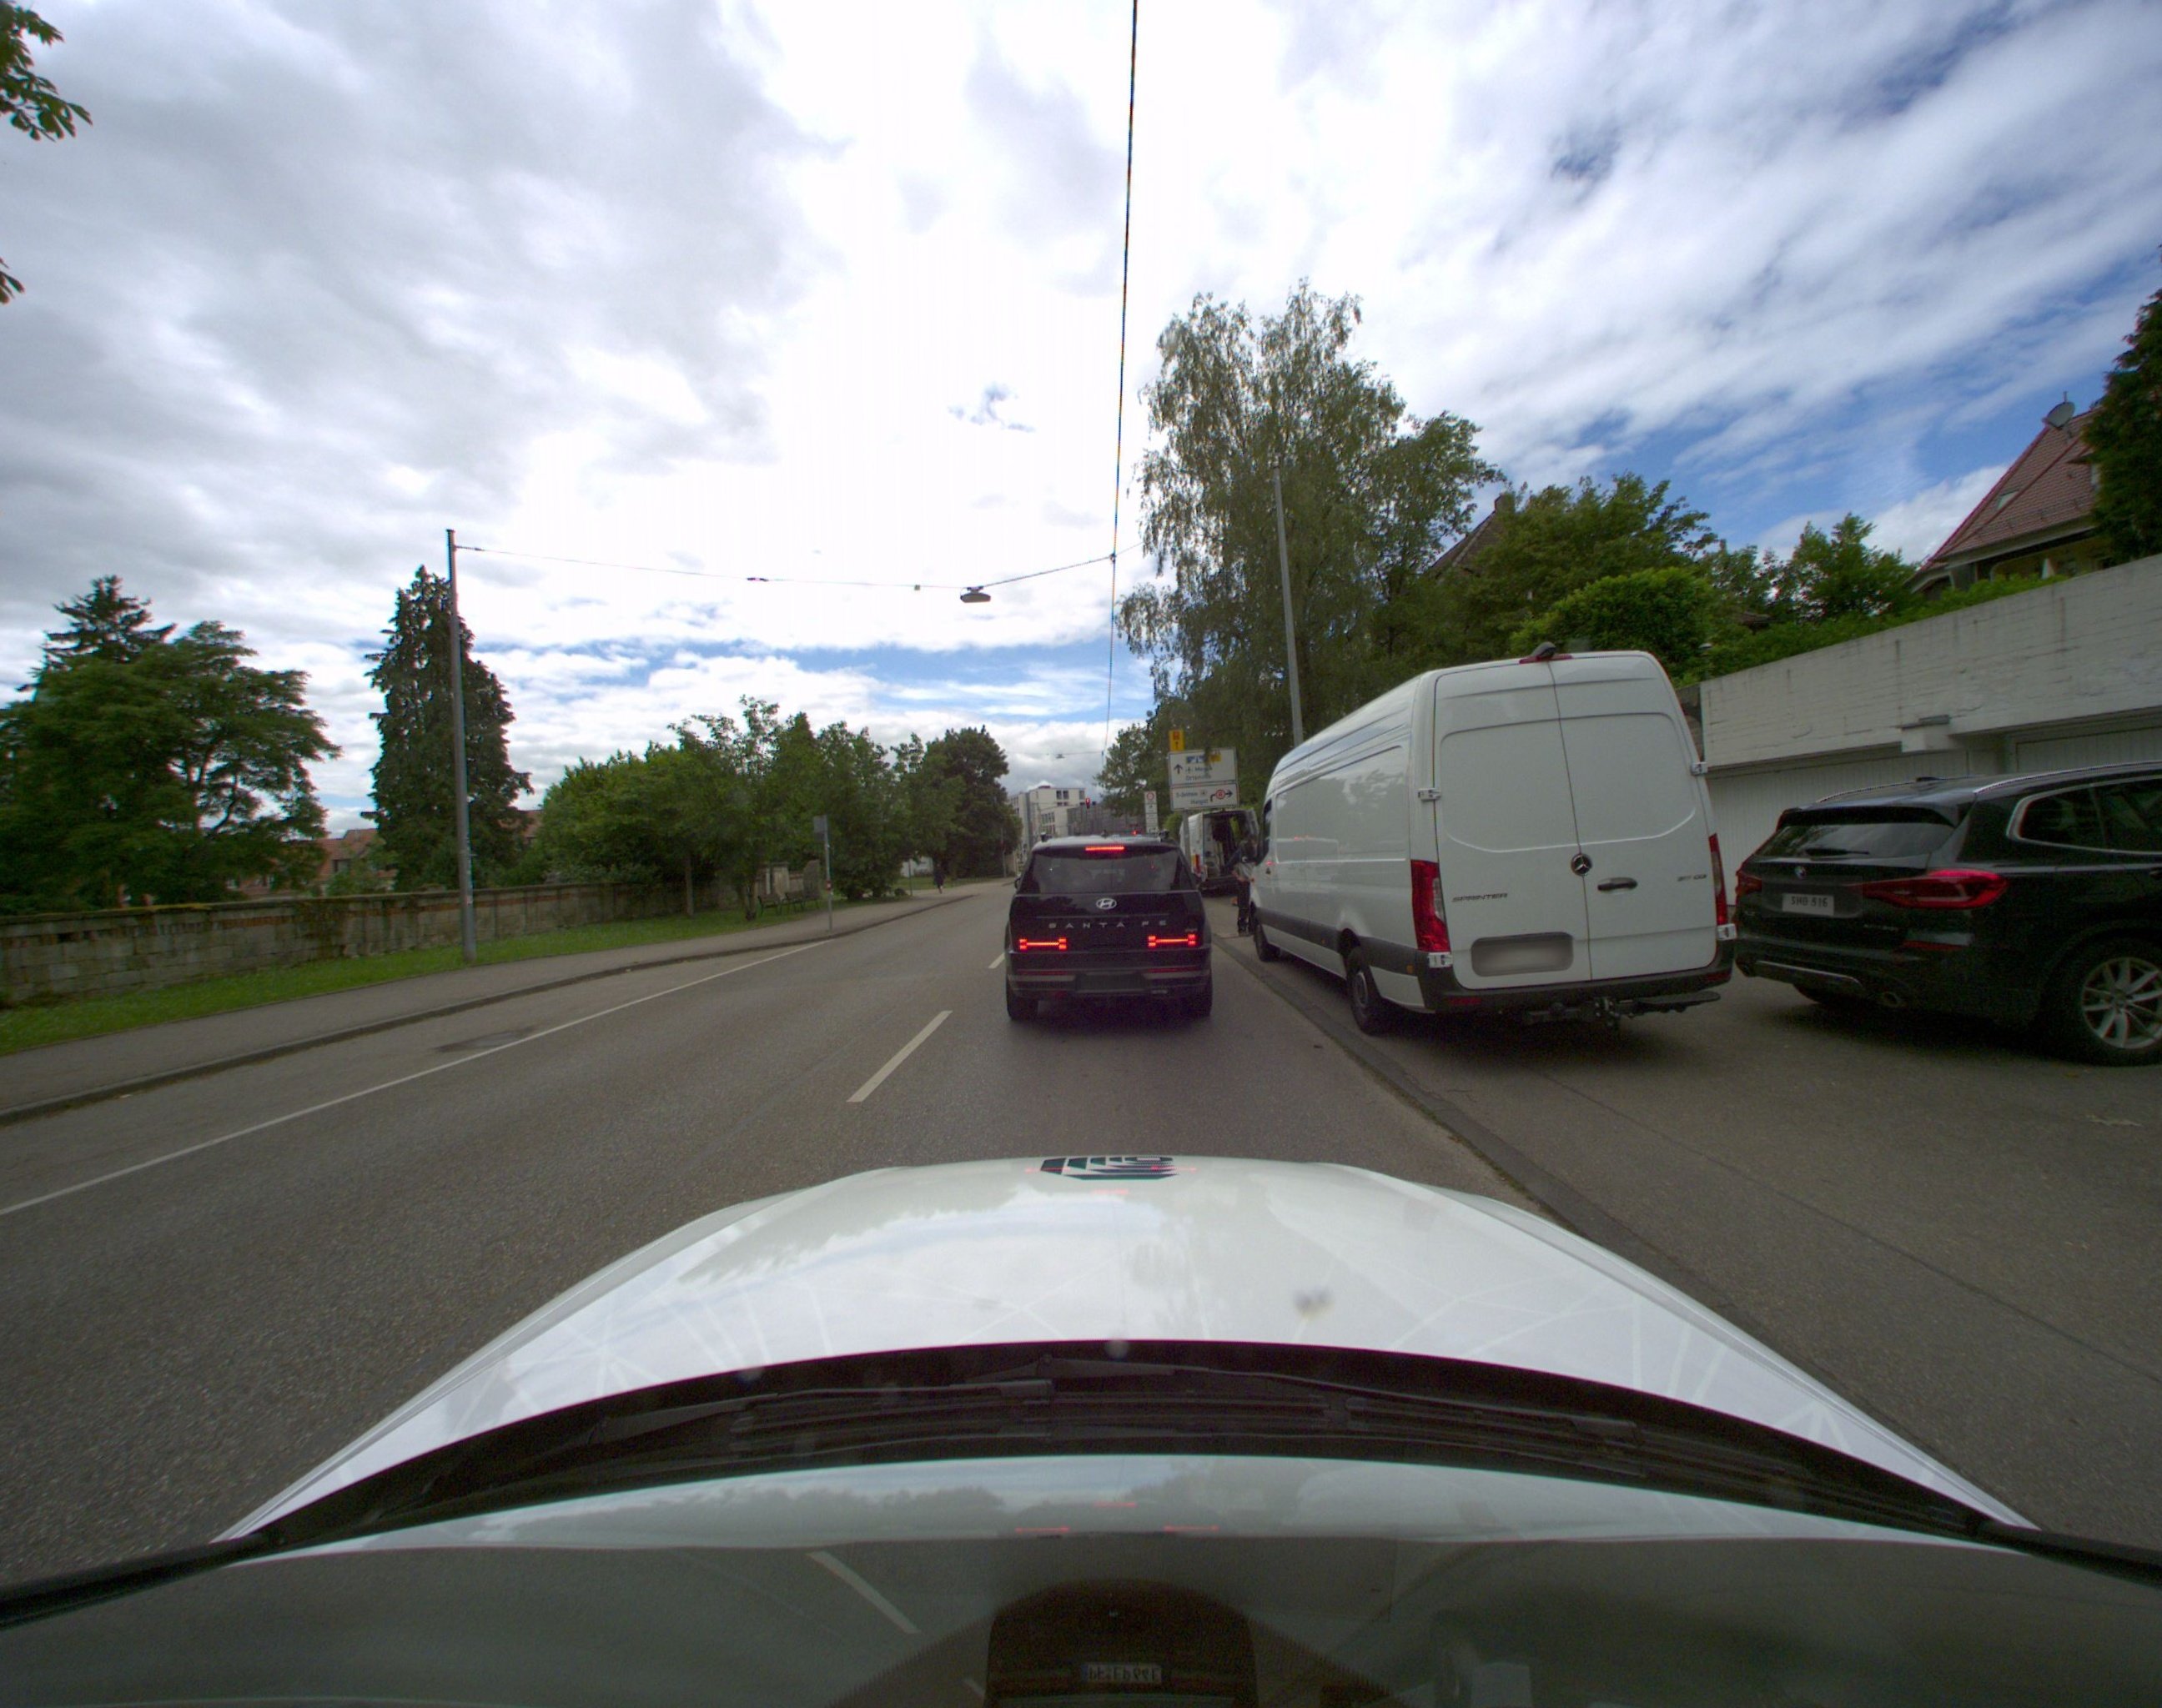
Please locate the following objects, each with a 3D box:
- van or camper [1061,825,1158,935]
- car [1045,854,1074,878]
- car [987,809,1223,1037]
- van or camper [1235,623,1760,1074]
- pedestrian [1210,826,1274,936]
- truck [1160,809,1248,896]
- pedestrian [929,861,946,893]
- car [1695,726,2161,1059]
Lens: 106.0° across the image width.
[{"bbox_3d":[0.611,0.509,17.603,1.748,2.013,4.002,-3,0,2],"label":"van or camper"},{"bbox_3d":[-1.649,0.880,63.268,1.852,1.657,4.307,-6,0,2],"label":"car"},{"bbox_3d":[0.261,0.568,8.660,1.883,1.819,4.002,-2,0,2],"label":"car"},{"bbox_3d":[3.129,-0.028,8.189,1.986,2.620,6.543,-3,0,2],"label":"van or camper"},{"bbox_3d":[2.757,0.446,13.998,0.867,1.797,0.760,-3,0,1],"label":"pedestrian"},{"bbox_3d":[4.107,-0.020,28.071,1.937,2.561,5.213,-5,-1,-1],"label":"truck"},{"bbox_3d":[-7.807,1.249,44.405,0.737,1.715,0.791,-3,0,-5],"label":"pedestrian"},{"bbox_3d":[6.857,0.129,5.219,4.398,1.750,1.739,-3,0,3],"label":"car"}]
